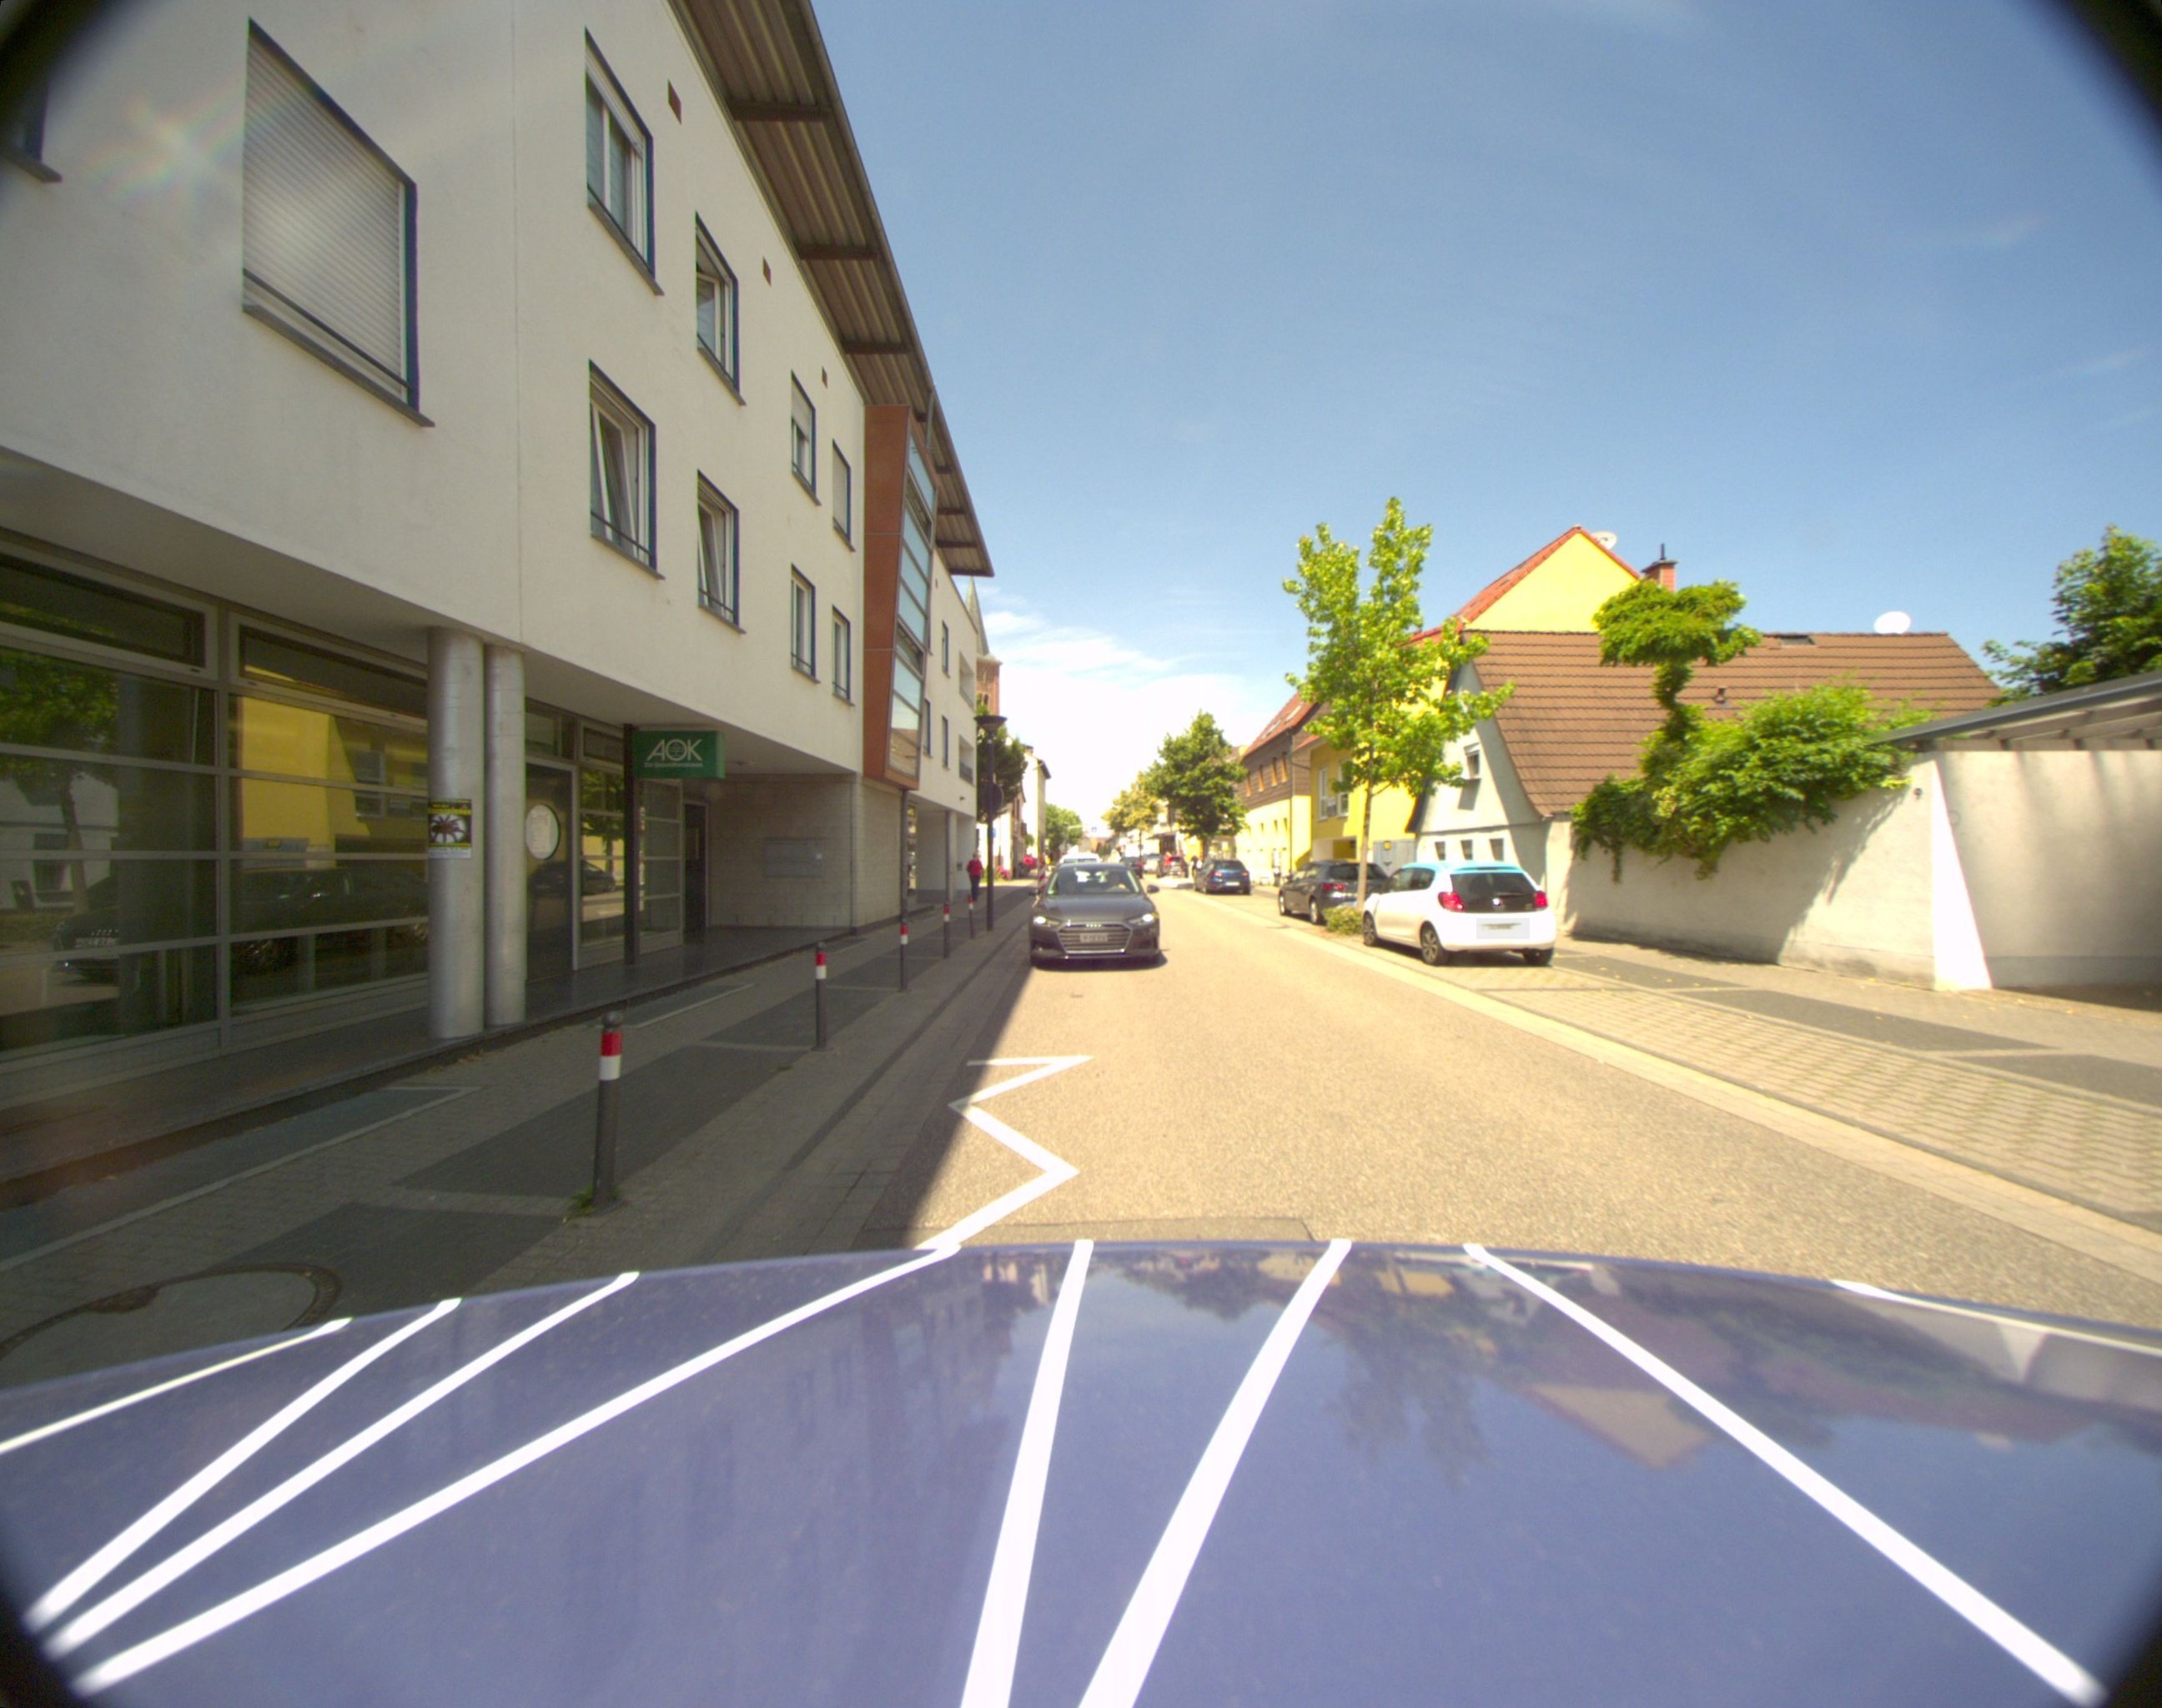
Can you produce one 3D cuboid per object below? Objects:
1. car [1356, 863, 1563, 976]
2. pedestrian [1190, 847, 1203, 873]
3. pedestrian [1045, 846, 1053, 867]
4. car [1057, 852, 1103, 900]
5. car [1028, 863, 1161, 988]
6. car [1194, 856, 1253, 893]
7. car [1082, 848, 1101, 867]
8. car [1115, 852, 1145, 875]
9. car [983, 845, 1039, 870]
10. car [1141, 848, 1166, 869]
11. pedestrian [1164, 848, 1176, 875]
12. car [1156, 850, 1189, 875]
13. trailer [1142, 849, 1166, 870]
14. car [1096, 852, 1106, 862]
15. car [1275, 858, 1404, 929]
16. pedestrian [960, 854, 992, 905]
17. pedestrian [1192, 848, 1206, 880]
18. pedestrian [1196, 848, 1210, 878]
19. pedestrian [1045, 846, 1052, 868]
[{"bbox_3d":[5.596,0.881,11.688,1.557,1.422,3.410,-1,0,2],"label":"car"},{"bbox_3d":[7.056,0.363,46.399,0.663,1.592,0.771,0,1,1],"label":"pedestrian"},{"bbox_3d":[-2.915,0.246,69.432,0.581,1.875,0.695,1,1,3],"label":"pedestrian"},{"bbox_3d":[-0.034,0.764,28.194,1.581,1.620,4.065,0,0,0],"label":"car"},{"bbox_3d":[0.175,0.903,11.337,1.581,1.424,4.065,-2,0,0],"label":"car"},{"bbox_3d":[5.707,0.779,30.876,1.660,1.399,4.158,0,0,1],"label":"car"},{"bbox_3d":[0.873,0.263,66.198,1.581,1.620,4.065,0,0,0],"label":"car"},{"bbox_3d":[3.275,0.597,51.112,1.693,1.464,4.000,2,0,0],"label":"car"},{"bbox_3d":[-5.451,0.242,59.428,4.203,1.849,2.000,1,1,0],"label":"car"},{"bbox_3d":[6.352,0.383,66.978,1.695,1.742,3.999,-2,0,-1],"label":"car"},{"bbox_3d":[5.444,0.438,46.392,0.643,1.645,0.624,1,1,0],"label":"pedestrian"},{"bbox_3d":[5.997,0.540,50.261,1.753,1.566,4.158,0,0,1],"label":"car"},{"bbox_3d":[5.998,0.439,62.732,1.493,1.571,3.882,-3,0,-2],"label":"trailer"},{"bbox_3d":[4.147,0.630,156.114,1.695,1.761,3.999,-4,0,-1],"label":"car"},{"bbox_3d":[5.923,0.832,17.920,1.649,1.422,4.098,1,0,1],"label":"car"},{"bbox_3d":[-3.398,0.810,24.650,0.825,1.579,0.919,3,1,1],"label":"pedestrian"},{"bbox_3d":[6.021,0.513,38.840,0.631,1.592,0.528,0,1,1],"label":"pedestrian"},{"bbox_3d":[6.400,0.458,39.761,0.631,1.592,0.528,0,1,1],"label":"pedestrian"},{"bbox_3d":[-2.910,0.268,68.086,0.581,1.875,0.695,1,1,3],"label":"pedestrian"}]
